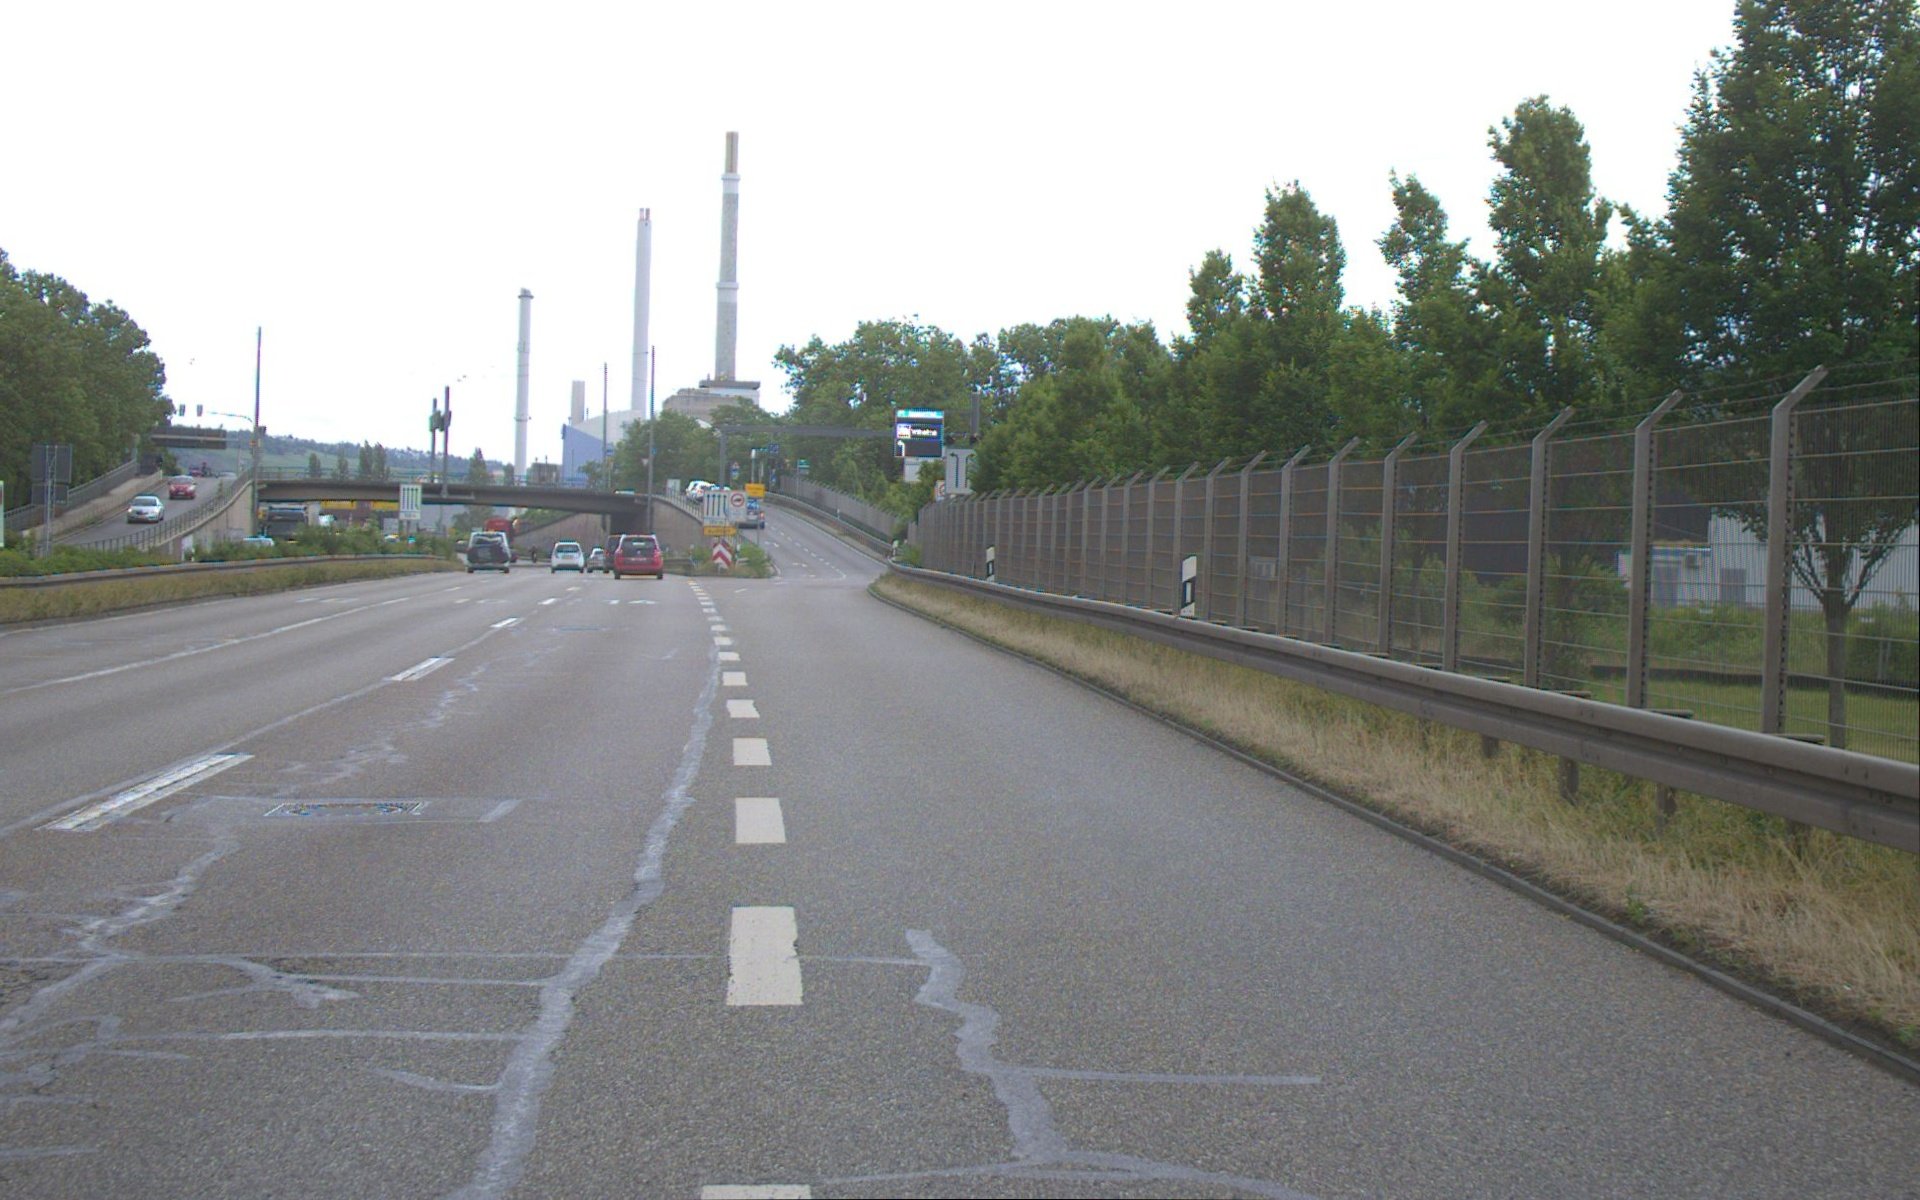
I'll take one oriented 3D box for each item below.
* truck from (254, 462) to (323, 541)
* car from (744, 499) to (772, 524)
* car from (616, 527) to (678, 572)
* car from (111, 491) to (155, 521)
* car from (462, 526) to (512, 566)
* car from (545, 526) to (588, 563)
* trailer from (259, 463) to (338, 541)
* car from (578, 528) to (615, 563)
[{"bbox_3d":[-41.206,-6.025,211.008,3.463,4.657,6.213,2,1,-6],"label":"truck"},{"bbox_3d":[-13.389,-5.860,228.058,1.749,1.575,4.085,1,1,-2],"label":"car"},{"bbox_3d":[-10.714,-1.737,118.019,1.993,1.415,4.001,2,1,-4],"label":"car"},{"bbox_3d":[-49.033,-5.586,203.915,1.993,1.638,4.605,3,1,-8],"label":"car"},{"bbox_3d":[-21.376,-2.469,155.536,1.993,1.678,4.001,2,1,-5],"label":"car"},{"bbox_3d":[-19.544,-2.774,170.912,1.993,1.678,4.001,2,1,-5],"label":"car"},{"bbox_3d":[-41.987,-6.142,218.701,3.463,4.657,14.785,2,1,-6],"label":"trailer"},{"bbox_3d":[-22.054,-3.328,208.649,1.917,2.006,4.001,2,1,-10],"label":"car"}]
